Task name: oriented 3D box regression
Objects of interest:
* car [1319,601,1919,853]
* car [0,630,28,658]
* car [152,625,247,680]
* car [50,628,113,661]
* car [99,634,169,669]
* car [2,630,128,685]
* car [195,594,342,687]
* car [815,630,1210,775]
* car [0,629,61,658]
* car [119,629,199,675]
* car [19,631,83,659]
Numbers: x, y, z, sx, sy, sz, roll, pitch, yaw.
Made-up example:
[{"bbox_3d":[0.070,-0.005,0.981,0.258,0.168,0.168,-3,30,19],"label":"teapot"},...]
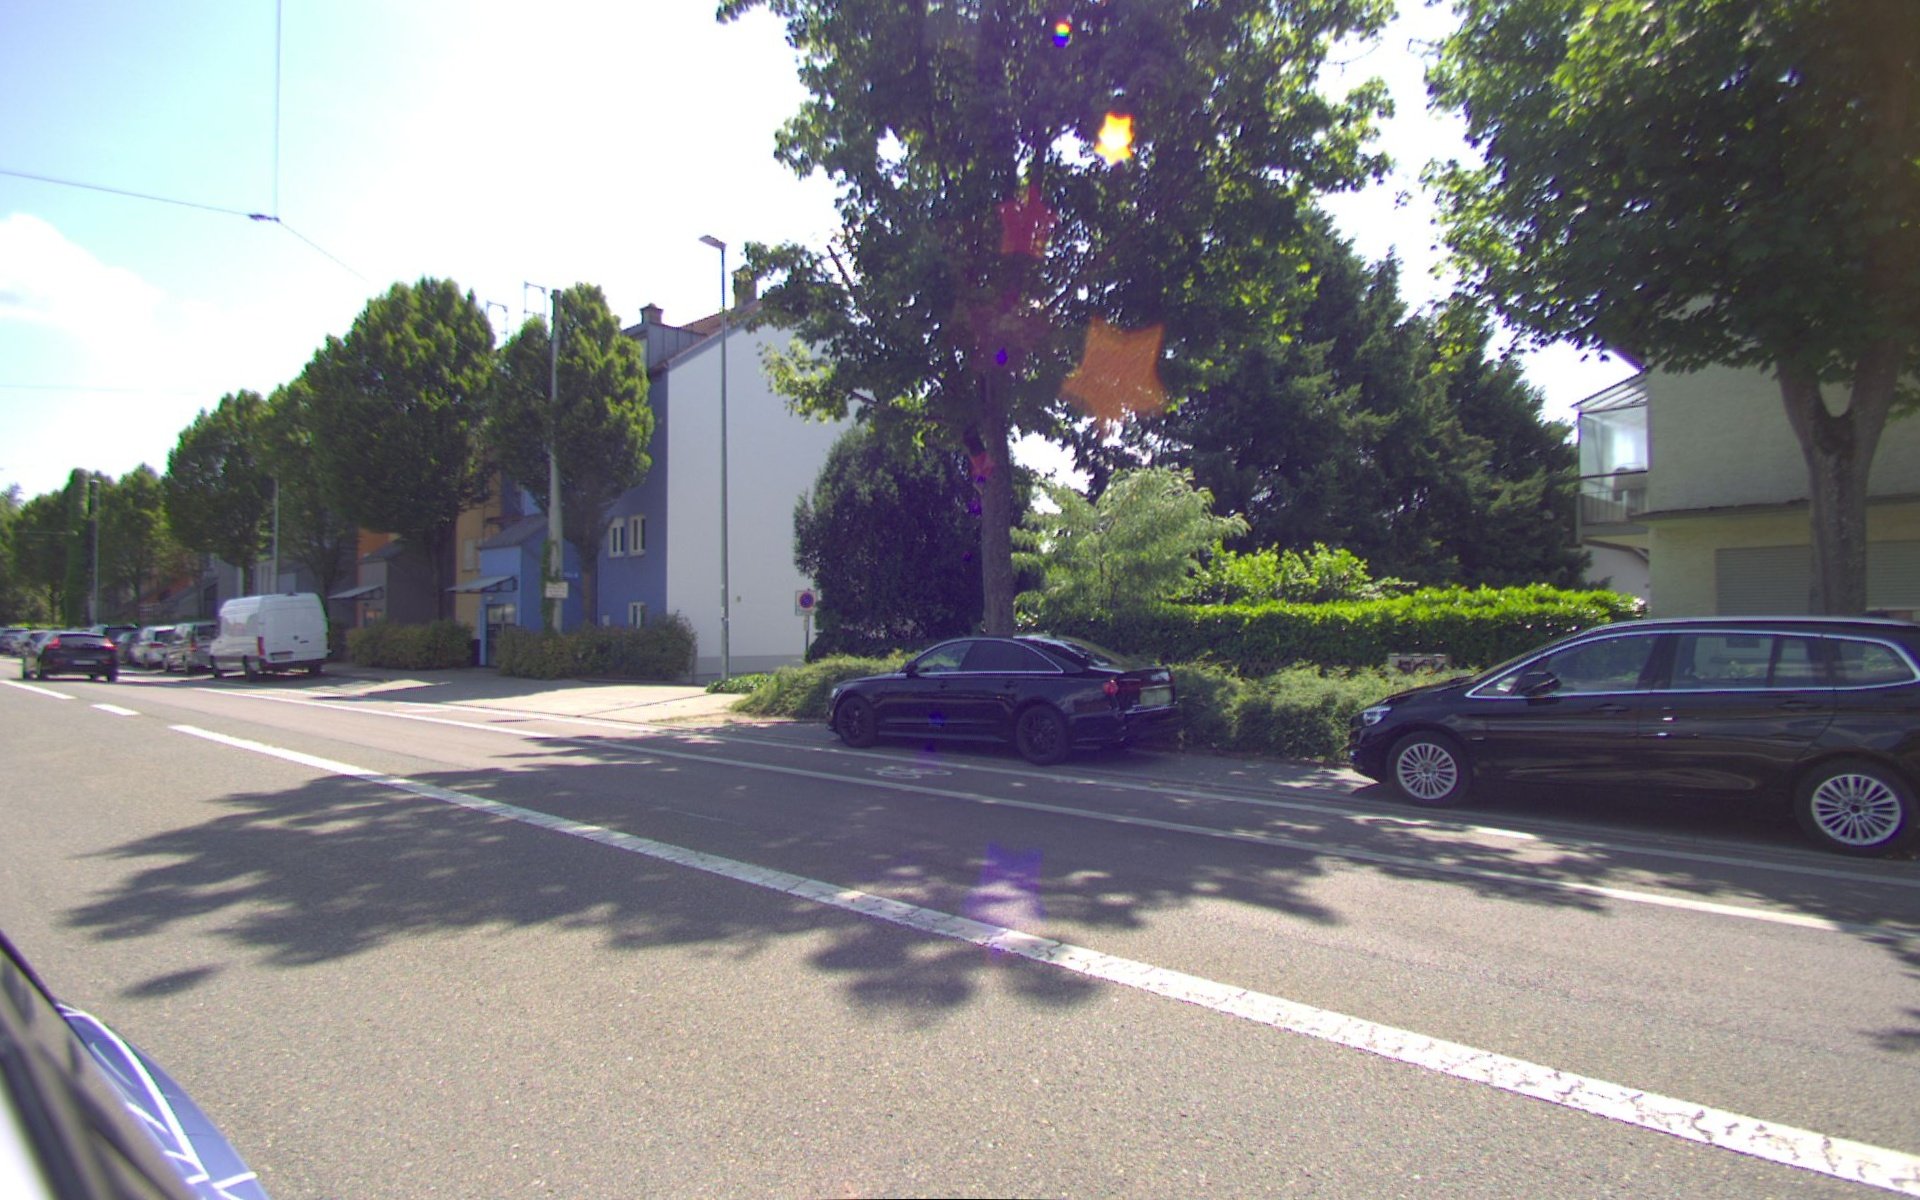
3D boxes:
[{"bbox_3d":[5.546,0.860,8.211,4.633,1.616,1.757,-2,-1,40],"label":"car"},{"bbox_3d":[-59.749,2.754,62.955,4.677,1.621,1.641,-2,0,36],"label":"car"},{"bbox_3d":[-29.051,1.951,38.594,5.359,1.909,1.788,-2,0,41],"label":"car"},{"bbox_3d":[-45.597,2.280,52.485,4.279,1.630,1.640,-1,-2,38],"label":"car"},{"bbox_3d":[-37.354,2.295,45.739,4.082,1.482,1.583,-2,-2,38],"label":"car"},{"bbox_3d":[-25.637,1.613,28.959,4.185,1.471,1.759,-1,-3,35],"label":"car"},{"bbox_3d":[-22.956,1.297,33.460,7.032,2.671,2.299,-2,1,42],"label":"car"},{"bbox_3d":[0.481,1.119,12.550,4.800,1.467,1.757,-2,-2,40],"label":"car"},{"bbox_3d":[-55.010,2.532,59.830,4.885,1.519,1.641,-1,1,35],"label":"car"},{"bbox_3d":[-33.545,2.128,42.323,4.900,1.765,1.699,-2,-1,40],"label":"car"},{"bbox_3d":[-50.492,2.482,56.186,4.955,1.457,1.726,-2,-1,37],"label":"car"}]
